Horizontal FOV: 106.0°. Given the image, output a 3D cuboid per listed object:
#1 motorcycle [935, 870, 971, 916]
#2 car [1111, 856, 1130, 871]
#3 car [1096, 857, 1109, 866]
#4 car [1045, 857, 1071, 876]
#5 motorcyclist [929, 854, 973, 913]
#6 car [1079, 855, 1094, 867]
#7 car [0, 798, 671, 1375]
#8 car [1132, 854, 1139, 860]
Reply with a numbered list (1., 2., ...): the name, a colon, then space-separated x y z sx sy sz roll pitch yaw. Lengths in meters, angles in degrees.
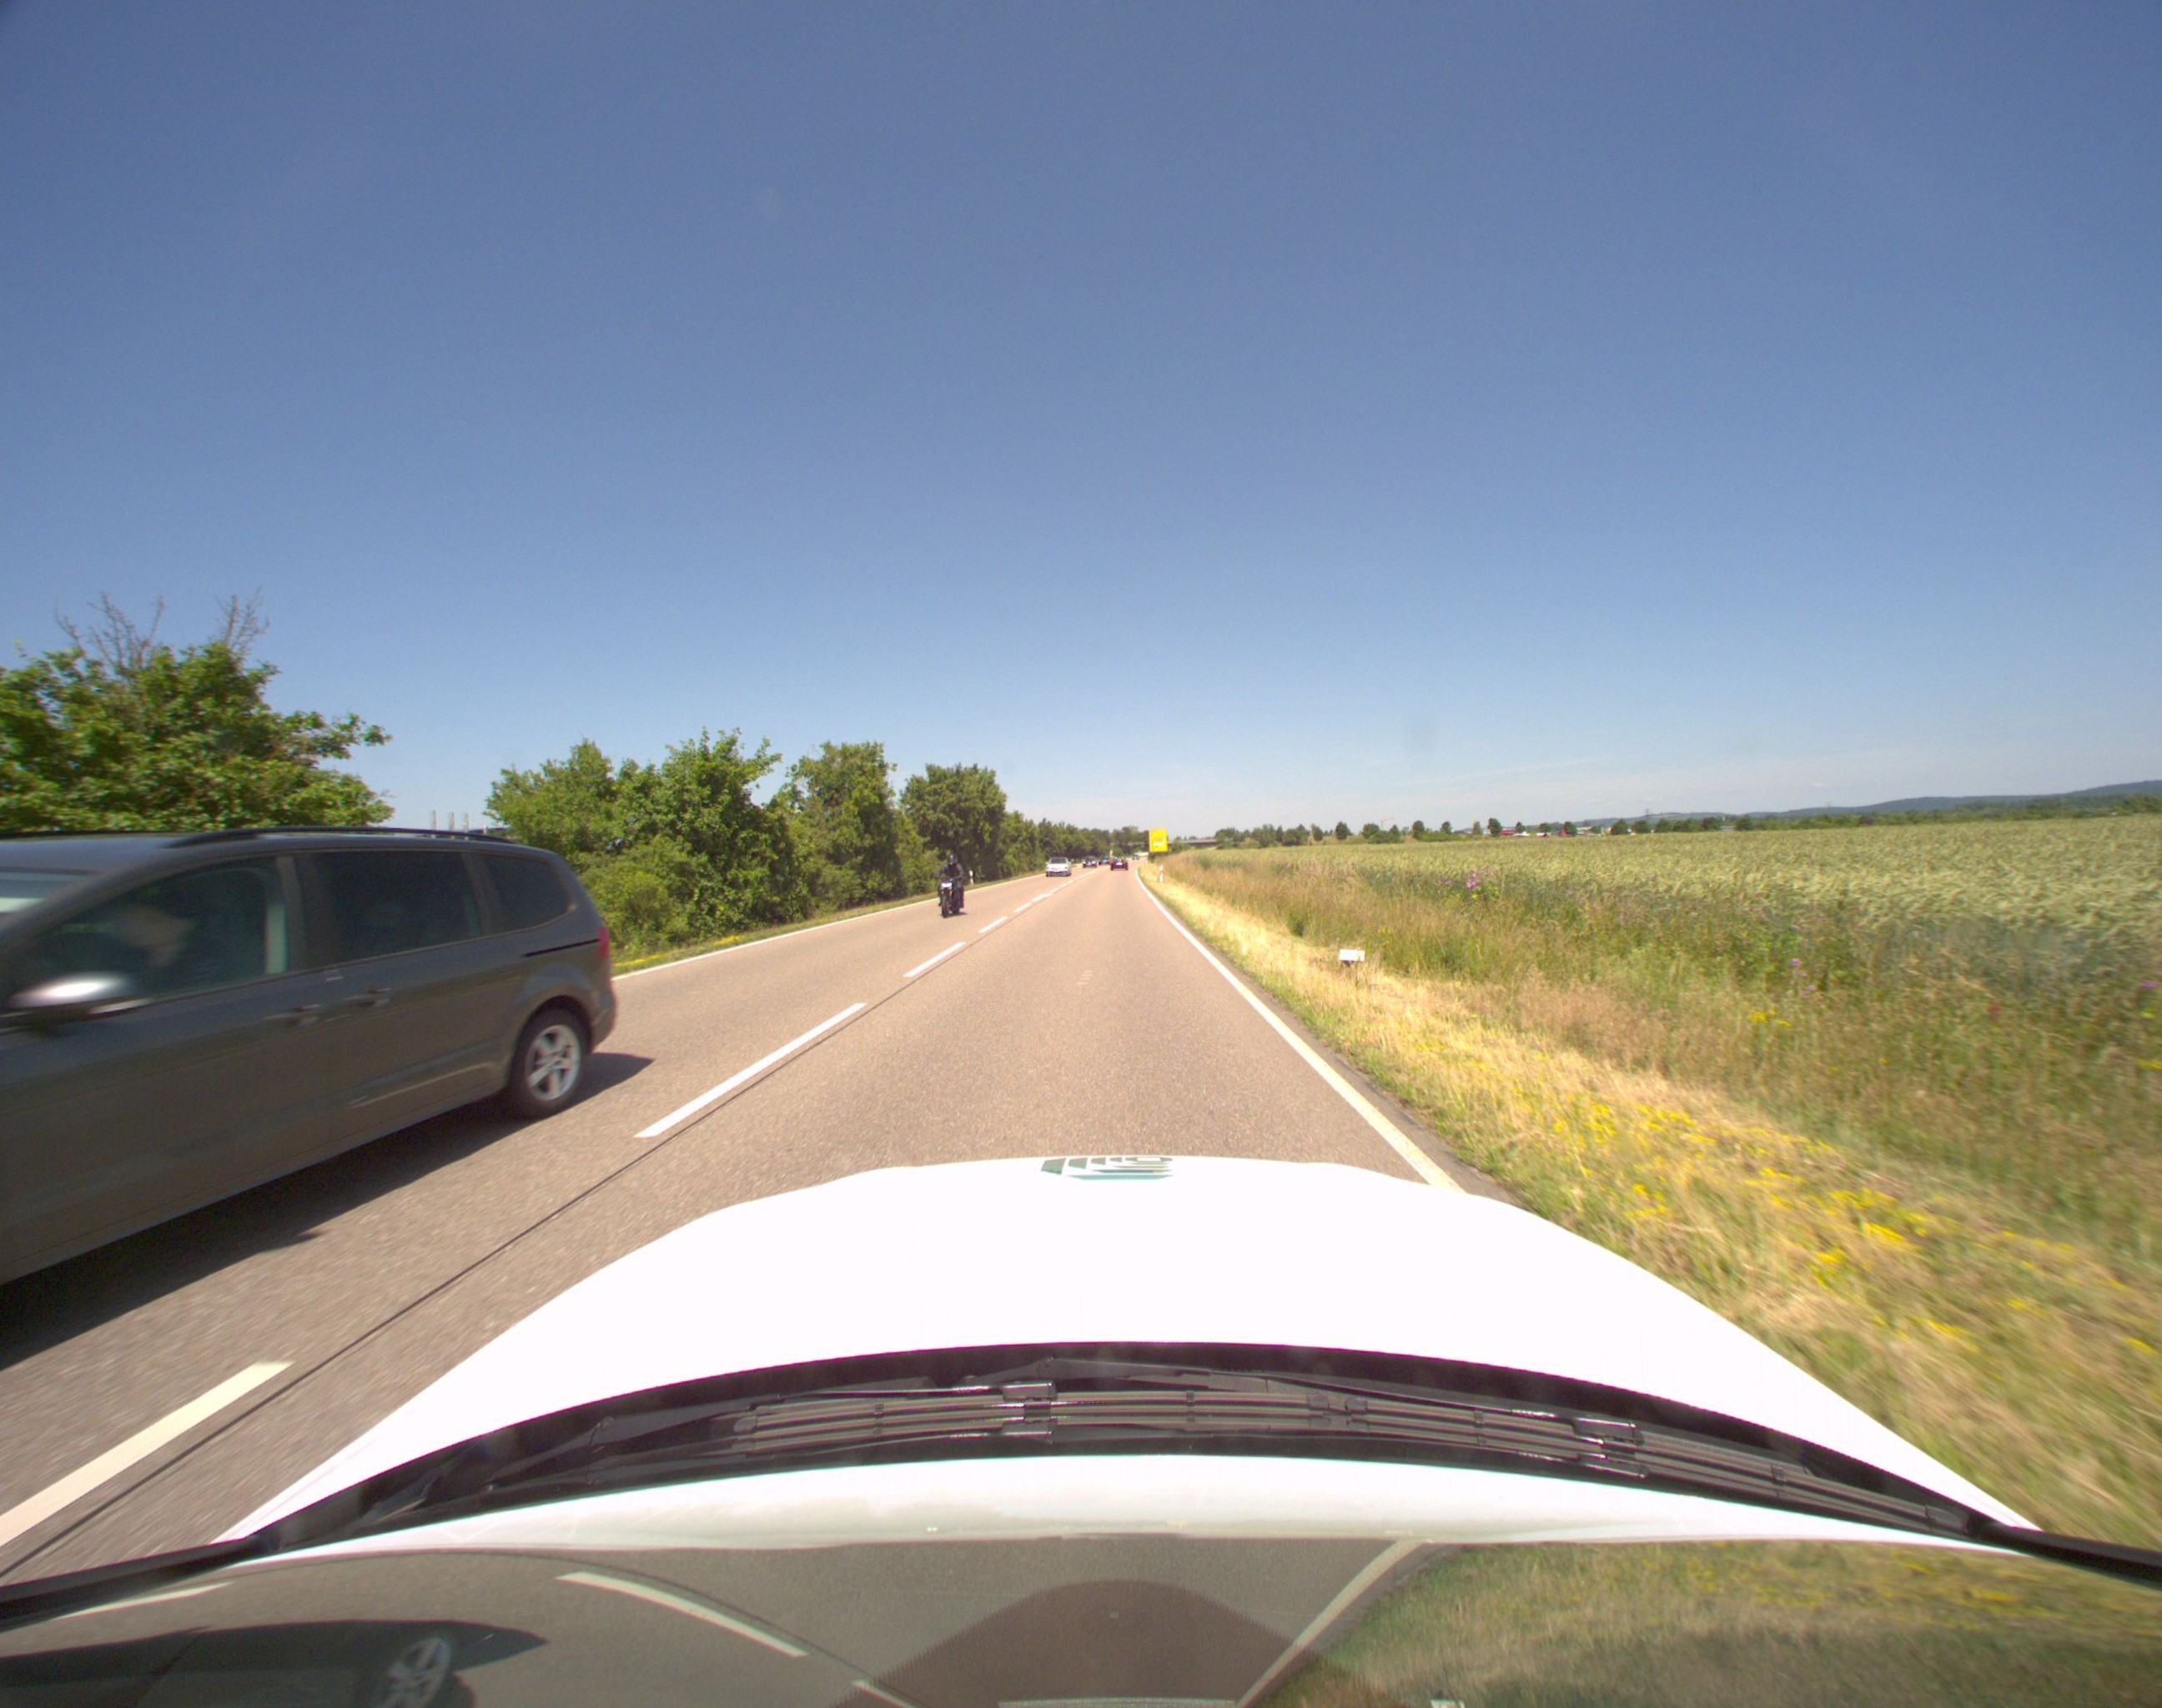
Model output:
1. motorcycle: -3.371 1.012 21.625 0.615 1.108 2.022 -1 0 0
2. car: 3.959 0.909 82.071 1.806 1.441 4.004 -1 0 4
3. car: 3.281 1.137 123.316 1.645 1.407 4.006 -1 0 5
4. car: -1.734 0.929 62.198 1.700 1.381 3.822 -1 0 2
5. motorcyclist: -3.393 0.739 21.452 0.832 1.474 1.817 -1 0 0
6. car: 0.683 0.866 101.042 1.591 1.442 4.003 -1 0 3
7. car: -4.073 0.710 3.604 1.812 1.701 5.003 -2 0 2
8. car: 15.043 0.781 223.077 1.773 1.420 4.540 -1 0 5
